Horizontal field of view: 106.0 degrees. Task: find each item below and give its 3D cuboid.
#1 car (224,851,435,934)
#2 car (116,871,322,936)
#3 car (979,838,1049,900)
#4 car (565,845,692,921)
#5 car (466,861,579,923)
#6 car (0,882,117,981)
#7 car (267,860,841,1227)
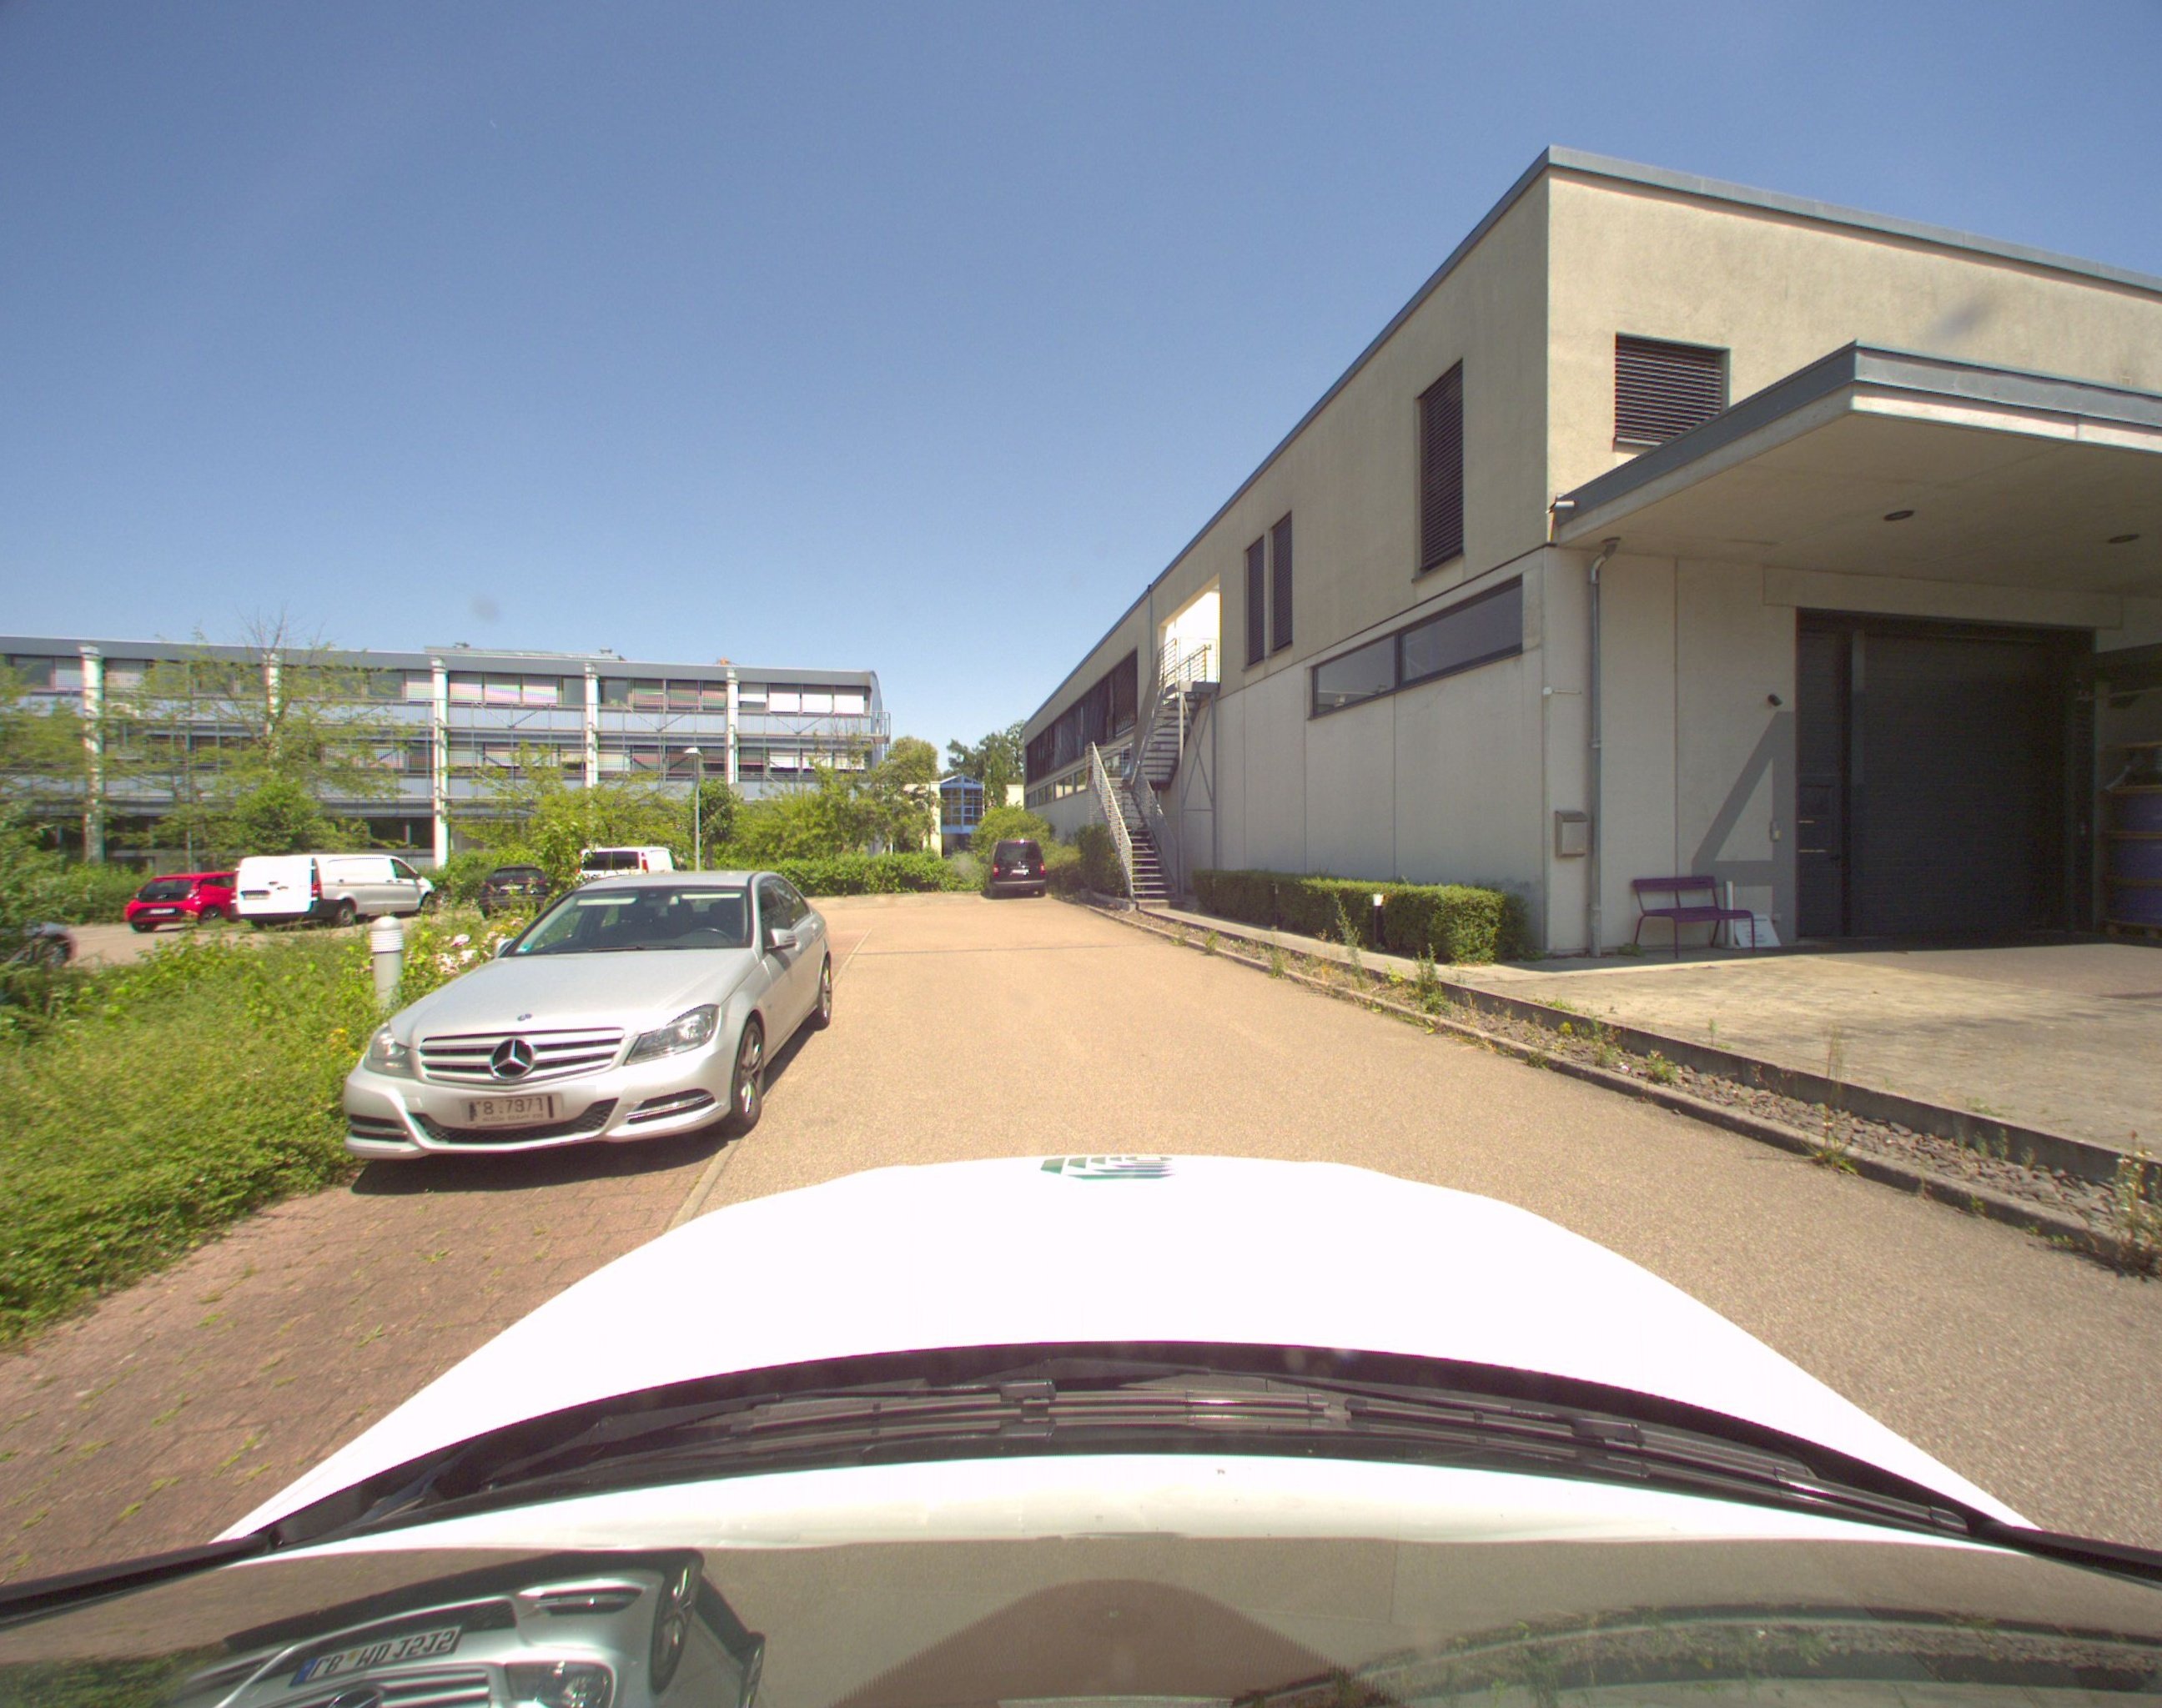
[{"bbox_3d":[-20.073,0.921,22.114,1.882,1.891,4.786,-1,1,-11],"label":"car"},{"bbox_3d":[-23.430,1.277,22.396,1.782,1.441,3.987,-2,1,-10],"label":"car"},{"bbox_3d":[-2.278,0.442,26.871,1.745,1.837,3.983,-2,1,-12],"label":"car"},{"bbox_3d":[-13.049,0.727,23.845,1.915,1.905,4.786,-2,1,-13],"label":"car"},{"bbox_3d":[-15.894,1.000,23.398,1.761,1.476,3.972,-2,1,-21],"label":"car"},{"bbox_3d":[-17.897,1.286,12.338,1.859,1.472,4.465,-1,1,-12],"label":"car"},{"bbox_3d":[-2.847,0.807,5.595,1.729,1.457,4.135,-2,0,-9],"label":"car"}]
